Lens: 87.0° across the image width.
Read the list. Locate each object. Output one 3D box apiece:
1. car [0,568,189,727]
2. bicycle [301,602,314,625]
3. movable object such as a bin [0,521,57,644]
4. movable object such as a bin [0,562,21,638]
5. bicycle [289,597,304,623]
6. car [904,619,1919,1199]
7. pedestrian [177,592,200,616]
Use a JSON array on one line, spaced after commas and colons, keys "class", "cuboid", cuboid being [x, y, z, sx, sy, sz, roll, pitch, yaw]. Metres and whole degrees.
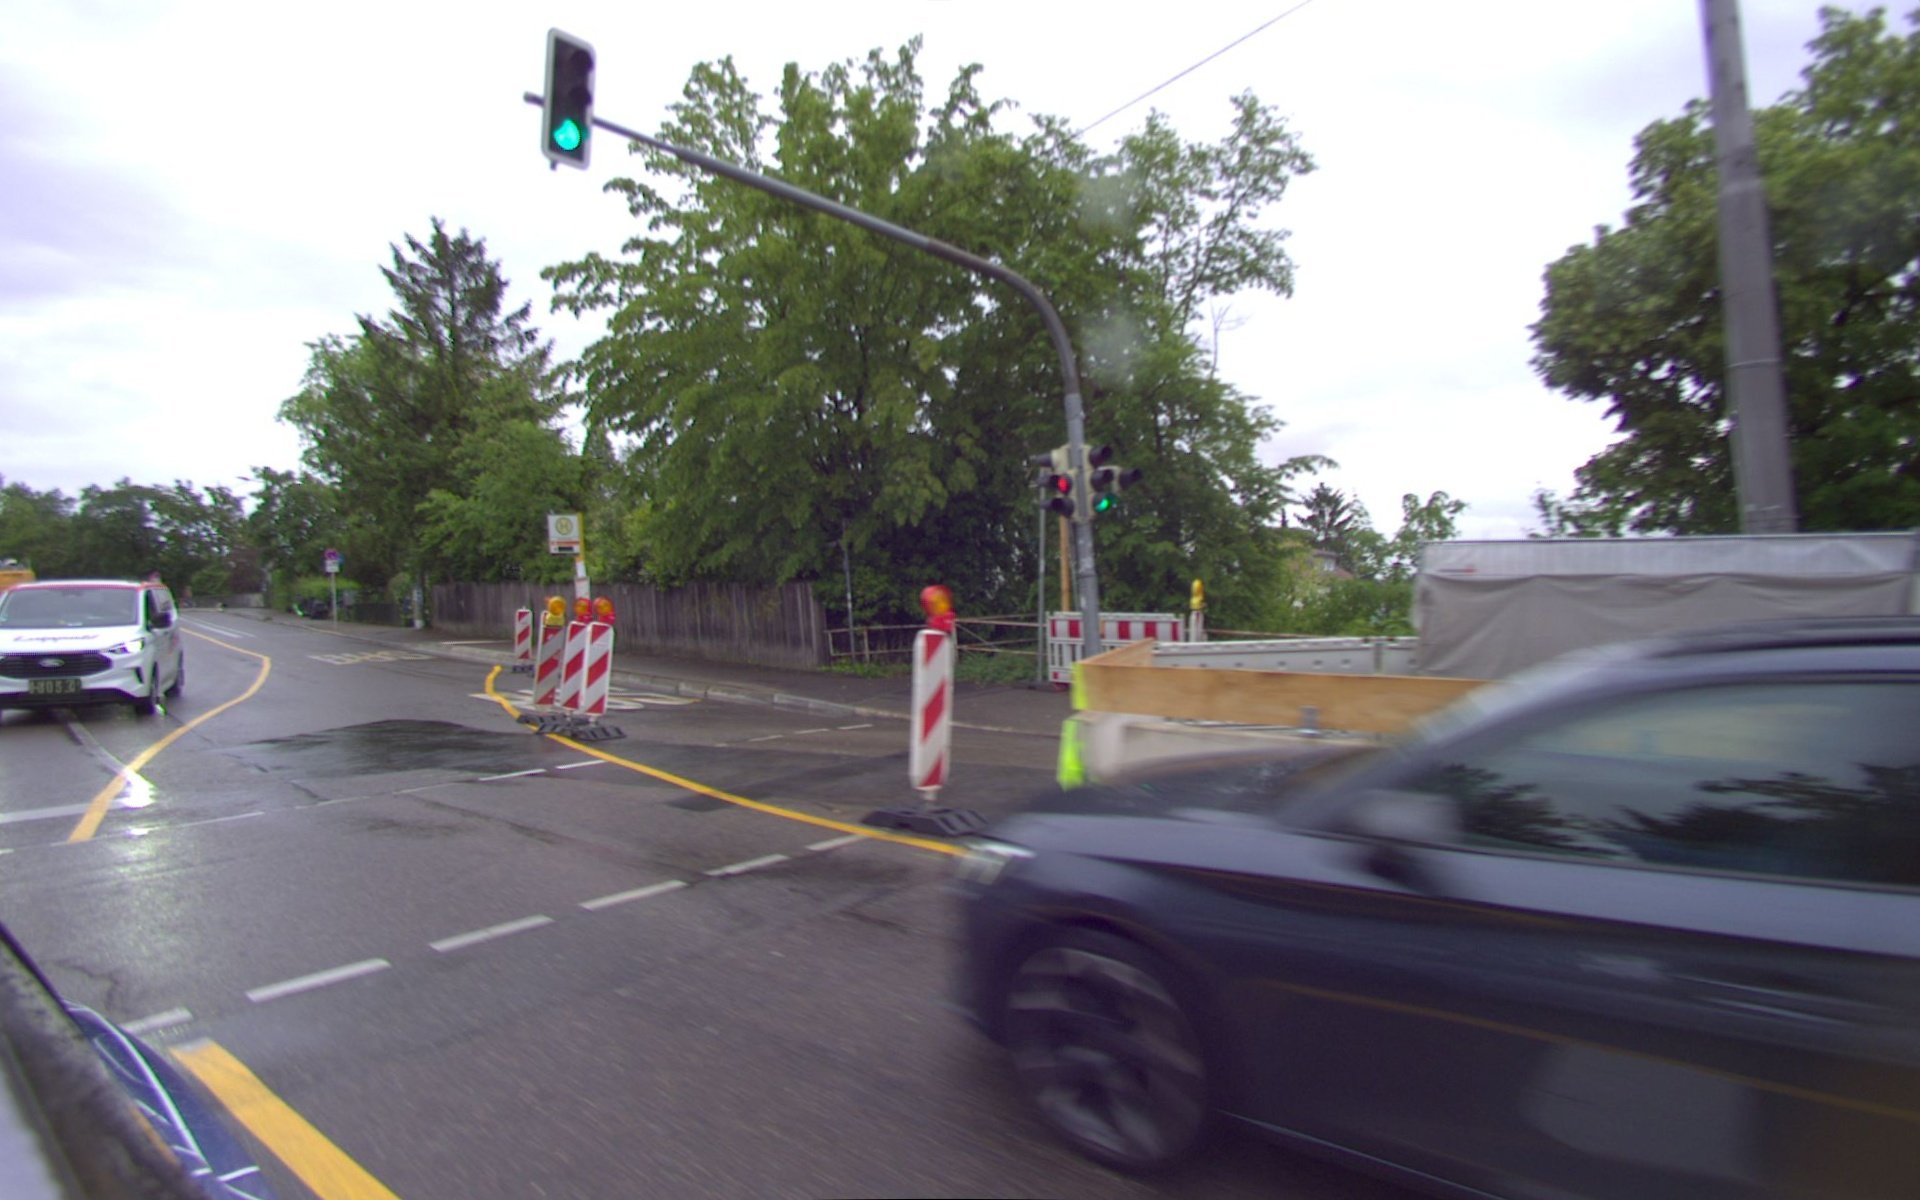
[{"class": "car", "cuboid": [-13.188, 0.706, 15.337, 1.966, 2.029, 4.962, 3, -3, -33]}, {"class": "bicycle", "cuboid": [-33.785, 0.689, 52.394, 0.334, 1.116, 1.258, -2, 3, -42]}, {"class": "movable object such as a bin", "cuboid": [-43.543, -0.835, 42.221, 10.709, 4.954, 3.056, 1, 3, 13]}, {"class": "movable object such as a bin", "cuboid": [-44.816, -0.042, 46.695, 3.838, 3.329, 1.971, 3, 4, 44]}, {"class": "bicycle", "cuboid": [-35.985, 0.546, 54.854, 0.415, 1.359, 1.745, -2, 3, -42]}, {"class": "car", "cuboid": [2.104, 0.770, 2.203, 4.359, 1.413, 1.767, -1, 0, 38]}, {"class": "pedestrian", "cuboid": [-57.058, 0.300, 74.848, 0.972, 1.781, 0.920, -2, 0, 19]}]
